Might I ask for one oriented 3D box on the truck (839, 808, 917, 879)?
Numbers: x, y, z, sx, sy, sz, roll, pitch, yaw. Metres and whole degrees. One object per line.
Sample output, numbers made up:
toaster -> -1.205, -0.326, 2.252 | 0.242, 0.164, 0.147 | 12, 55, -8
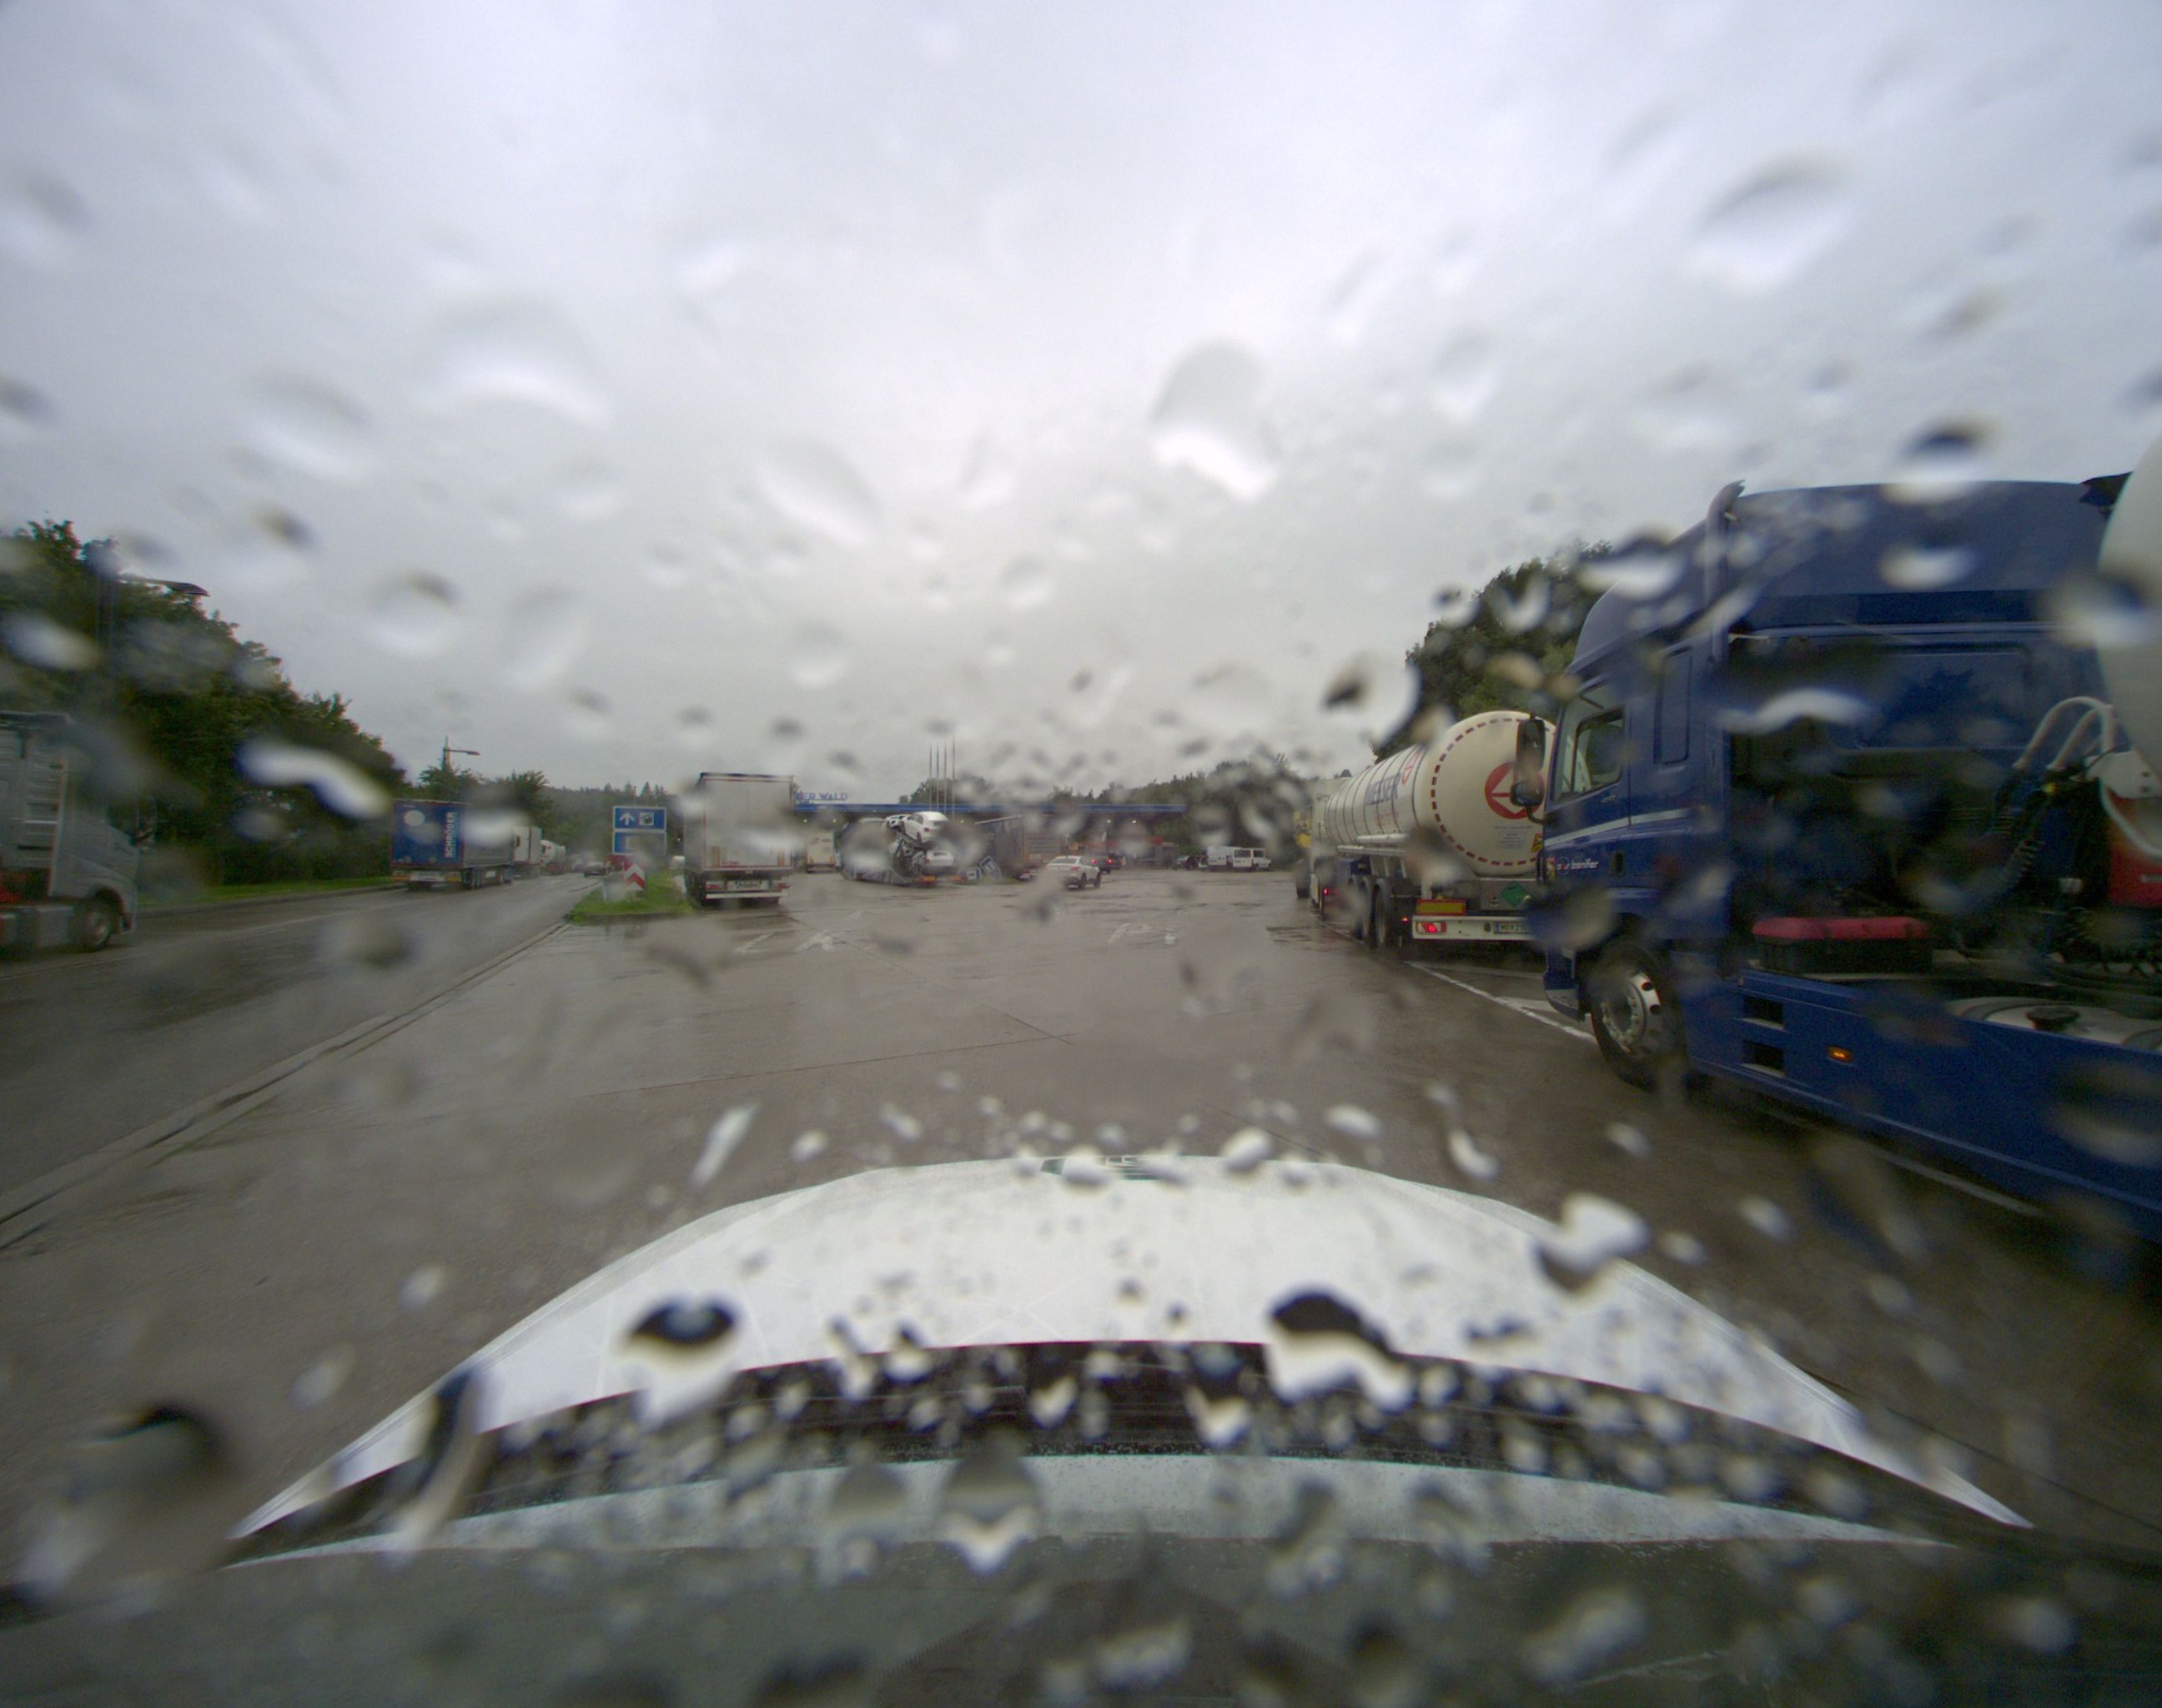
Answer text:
truck -> -13.220, -0.633, 52.458 | 3.250, 4.188, 8.372 | 1, 0, -26

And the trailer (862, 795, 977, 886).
trailer -> -8.946, -0.605, 43.518 | 3.232, 4.189, 11.432 | 1, 0, -26

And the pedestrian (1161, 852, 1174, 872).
pedestrian -> 8.460, 0.775, 79.500 | 0.945, 1.920, 1.095 | 0, 0, 25

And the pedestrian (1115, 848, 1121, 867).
pedestrian -> 4.022, 0.419, 89.270 | 0.585, 2.014, 0.637 | 2, -3, -3

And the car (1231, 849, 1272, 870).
car -> 14.506, 0.423, 69.327 | 2.093, 1.728, 4.025 | -1, 0, 33

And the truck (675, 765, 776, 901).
truck -> -13.047, -0.609, 29.197 | 2.384, 3.874, 12.341 | -1, 0, -28

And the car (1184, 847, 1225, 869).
car -> 11.451, 0.352, 75.295 | 2.093, 1.937, 4.218 | -1, 0, 33

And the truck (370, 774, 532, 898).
truck -> -30.880, -0.705, 40.681 | 4.821, 5.306, 10.964 | 0, -1, -29

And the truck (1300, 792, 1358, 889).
truck -> 10.532, -0.544, 34.419 | 2.163, 3.828, 4.162 | -1, 0, 19

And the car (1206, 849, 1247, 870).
car -> 12.827, 0.459, 71.525 | 2.093, 1.728, 4.025 | -1, 0, 33

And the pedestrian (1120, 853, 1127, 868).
pedestrian -> 4.390, 0.636, 84.792 | 0.607, 1.539, 0.593 | 0, -2, -8

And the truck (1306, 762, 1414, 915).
truck -> 7.114, -0.342, 21.246 | 2.131, 3.513, 4.662 | -1, 0, 12

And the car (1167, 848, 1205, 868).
car -> 10.259, 0.368, 79.230 | 2.093, 1.937, 4.218 | -1, 0, 33

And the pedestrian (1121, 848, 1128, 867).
pedestrian -> 4.666, 0.399, 88.087 | 0.666, 2.014, 0.743 | 1, -3, 6

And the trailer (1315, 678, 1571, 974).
trailer -> 5.693, -0.315, 14.680 | 2.117, 3.440, 10.287 | -1, 0, 12

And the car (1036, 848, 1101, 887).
car -> -0.500, 0.573, 37.275 | 1.980, 1.679, 4.015 | -1, 0, 13

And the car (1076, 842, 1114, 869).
car -> 1.162, 0.155, 68.733 | 1.998, 2.014, 3.975 | 3, -3, -17

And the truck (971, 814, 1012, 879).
truck -> -6.672, -0.510, 60.155 | 1.995, 4.549, 4.763 | 0, -1, -20

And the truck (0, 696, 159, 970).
truck -> -17.106, -0.287, 11.755 | 2.932, 3.904, 6.259 | 0, 0, -27

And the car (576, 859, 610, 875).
car -> -43.926, 1.168, 73.401 | 1.885, 1.461, 3.972 | 1, -1, -21

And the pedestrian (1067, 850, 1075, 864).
pedestrian -> -1.121, 0.324, 90.181 | 0.715, 1.521, 0.743 | 1, -3, 6

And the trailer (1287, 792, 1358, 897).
trailer -> 9.109, -0.318, 30.242 | 2.165, 3.392, 7.600 | -1, 0, 19

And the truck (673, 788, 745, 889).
truck -> -16.097, -0.592, 34.977 | 2.384, 3.874, 6.948 | -1, 0, -28

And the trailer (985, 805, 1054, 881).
trailer -> -4.226, -0.598, 53.325 | 2.000, 4.559, 9.743 | 0, -1, -20

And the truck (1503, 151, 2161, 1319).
truck -> 4.366, -0.349, 4.216 | 2.045, 3.531, 4.748 | 0, 0, 2
